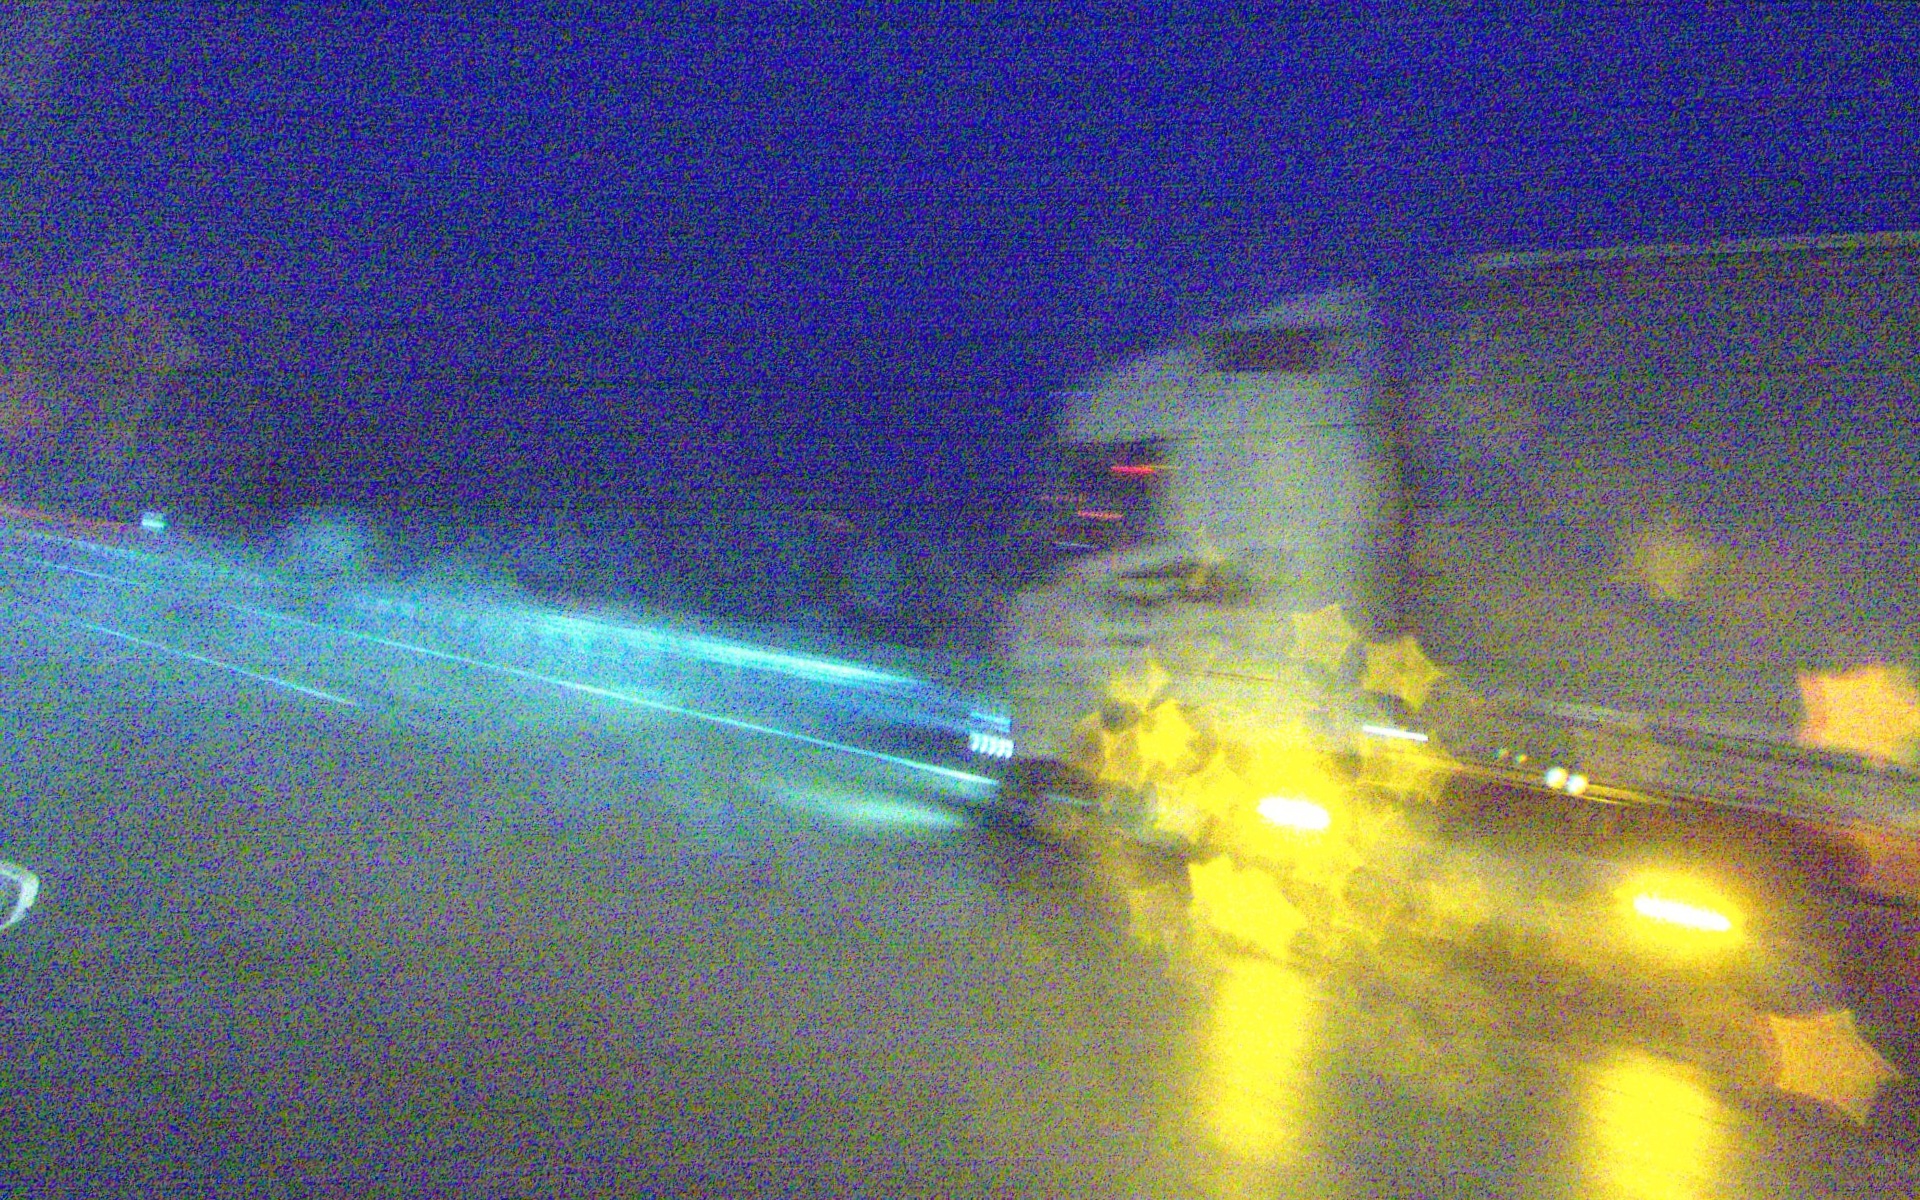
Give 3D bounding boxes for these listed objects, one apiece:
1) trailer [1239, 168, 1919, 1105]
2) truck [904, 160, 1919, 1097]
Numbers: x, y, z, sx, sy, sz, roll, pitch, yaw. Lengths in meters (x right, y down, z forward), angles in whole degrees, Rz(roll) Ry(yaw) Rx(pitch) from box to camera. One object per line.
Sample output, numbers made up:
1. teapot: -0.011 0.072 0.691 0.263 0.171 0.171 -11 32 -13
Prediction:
1. trailer: 8.669 0.669 3.498 14.245 4.160 2.906 7 1 31
2. truck: 3.073 -0.044 6.926 5.930 4.161 2.906 7 1 31
